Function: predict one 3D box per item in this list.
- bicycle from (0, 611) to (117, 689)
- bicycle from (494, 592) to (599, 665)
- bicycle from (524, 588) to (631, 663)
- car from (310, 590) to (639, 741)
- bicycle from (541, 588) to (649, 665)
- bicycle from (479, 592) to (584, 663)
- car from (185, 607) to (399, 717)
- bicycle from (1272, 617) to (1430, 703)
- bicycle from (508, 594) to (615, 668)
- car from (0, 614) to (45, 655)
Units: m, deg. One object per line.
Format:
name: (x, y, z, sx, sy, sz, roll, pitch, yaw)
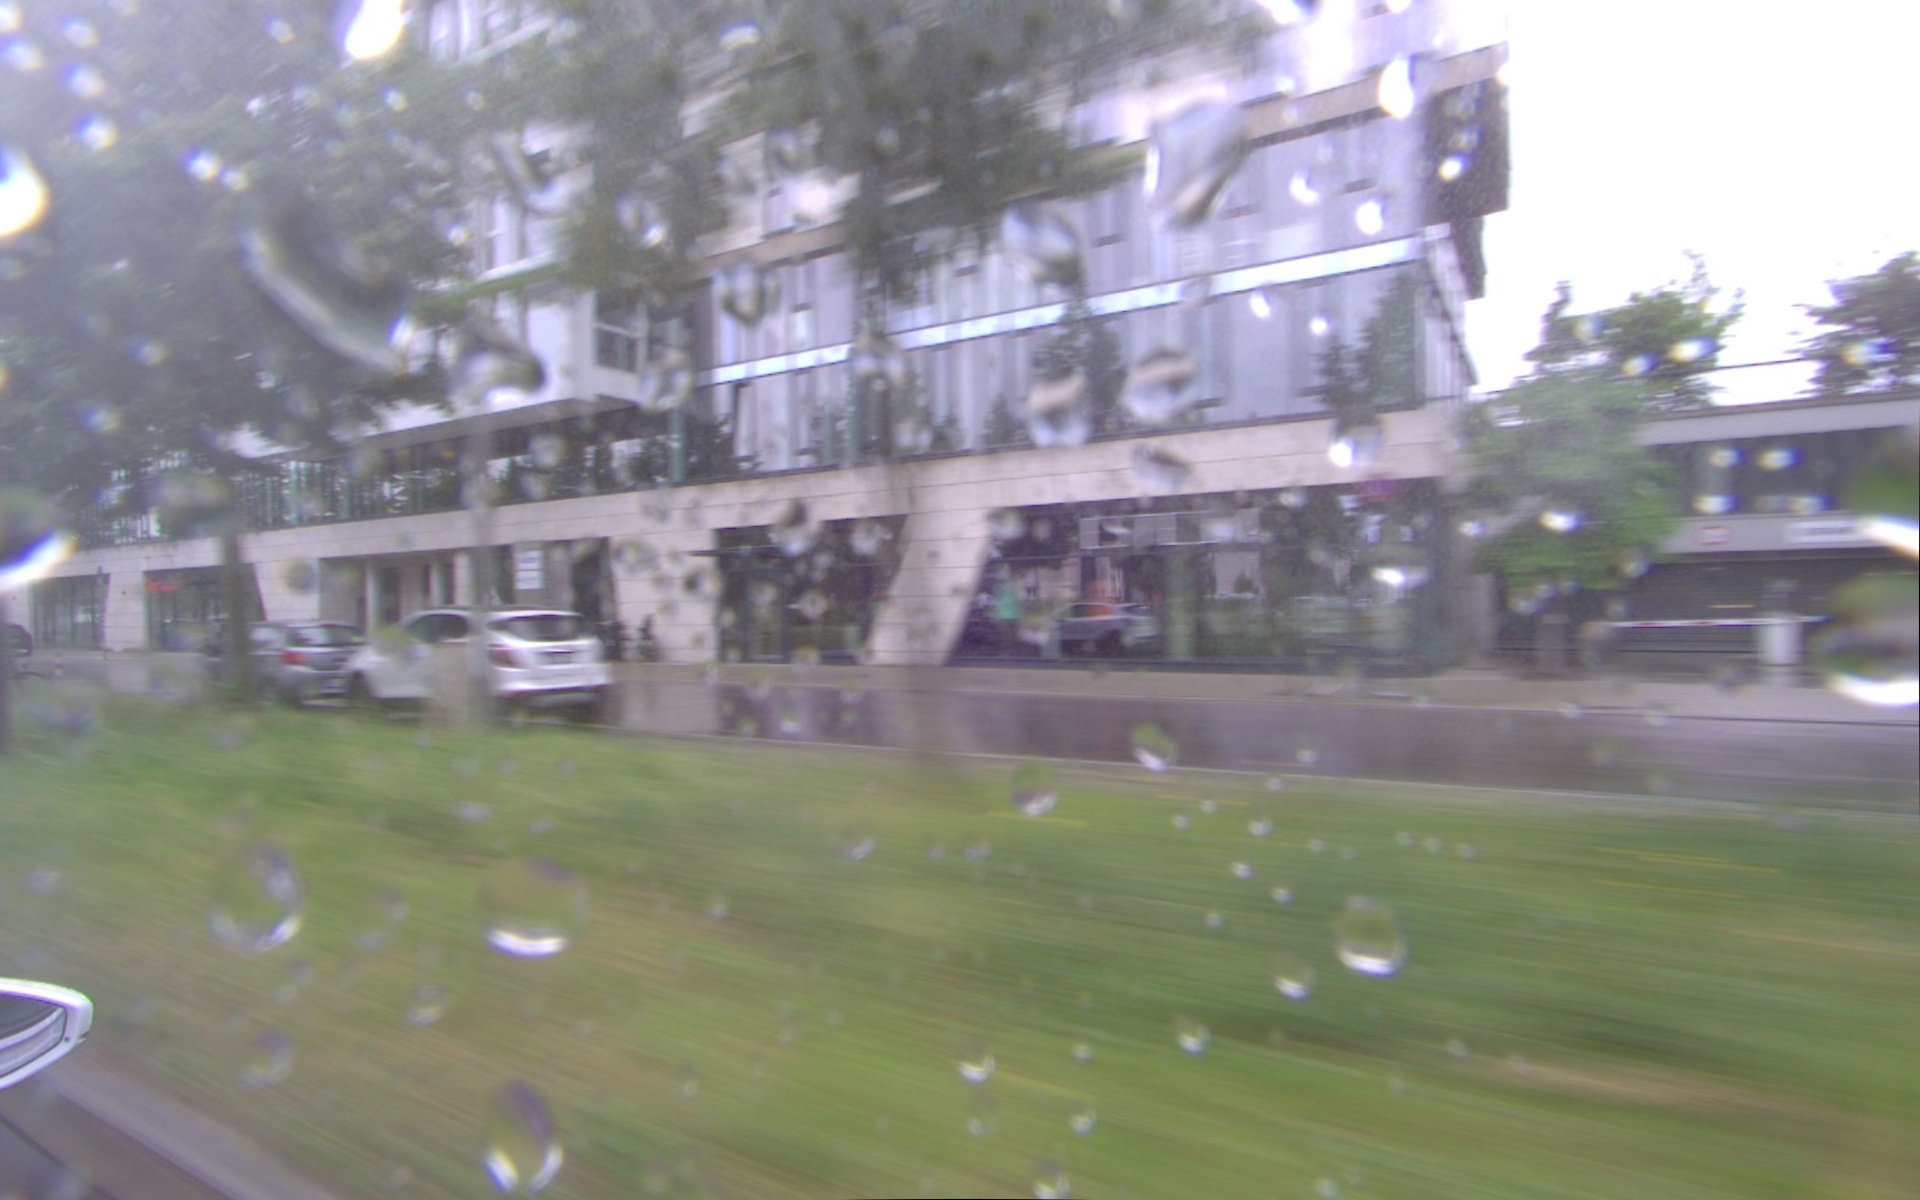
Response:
bicycle: (-15.076, 0.797, 16.278, 0.484, 1.212, 2.031, -1, 0, 31)
bicycle: (-11.237, 0.734, 27.324, 0.698, 1.885, 2.671, 0, 1, 36)
bicycle: (-10.024, 0.630, 26.355, 0.698, 1.885, 2.671, 0, 1, 36)
car: (-6.869, 0.773, 14.014, 4.654, 1.692, 1.990, 2, 1, 32)
bicycle: (-9.405, 0.655, 25.919, 0.698, 1.885, 2.671, 0, 1, 36)
bicycle: (-11.833, 0.730, 27.761, 0.698, 1.885, 2.671, 0, 1, 36)
car: (-11.059, 0.933, 16.527, 3.602, 1.511, 1.622, 2, 1, 32)
bicycle: (5.547, 0.821, 14.261, 2.036, 1.145, 0.517, -1, 0, 34)
bicycle: (-10.630, 0.793, 26.833, 0.698, 1.885, 2.671, 0, 1, 36)
car: (-42.595, 1.523, 44.232, 4.963, 1.523, 1.986, 1, 5, 34)
